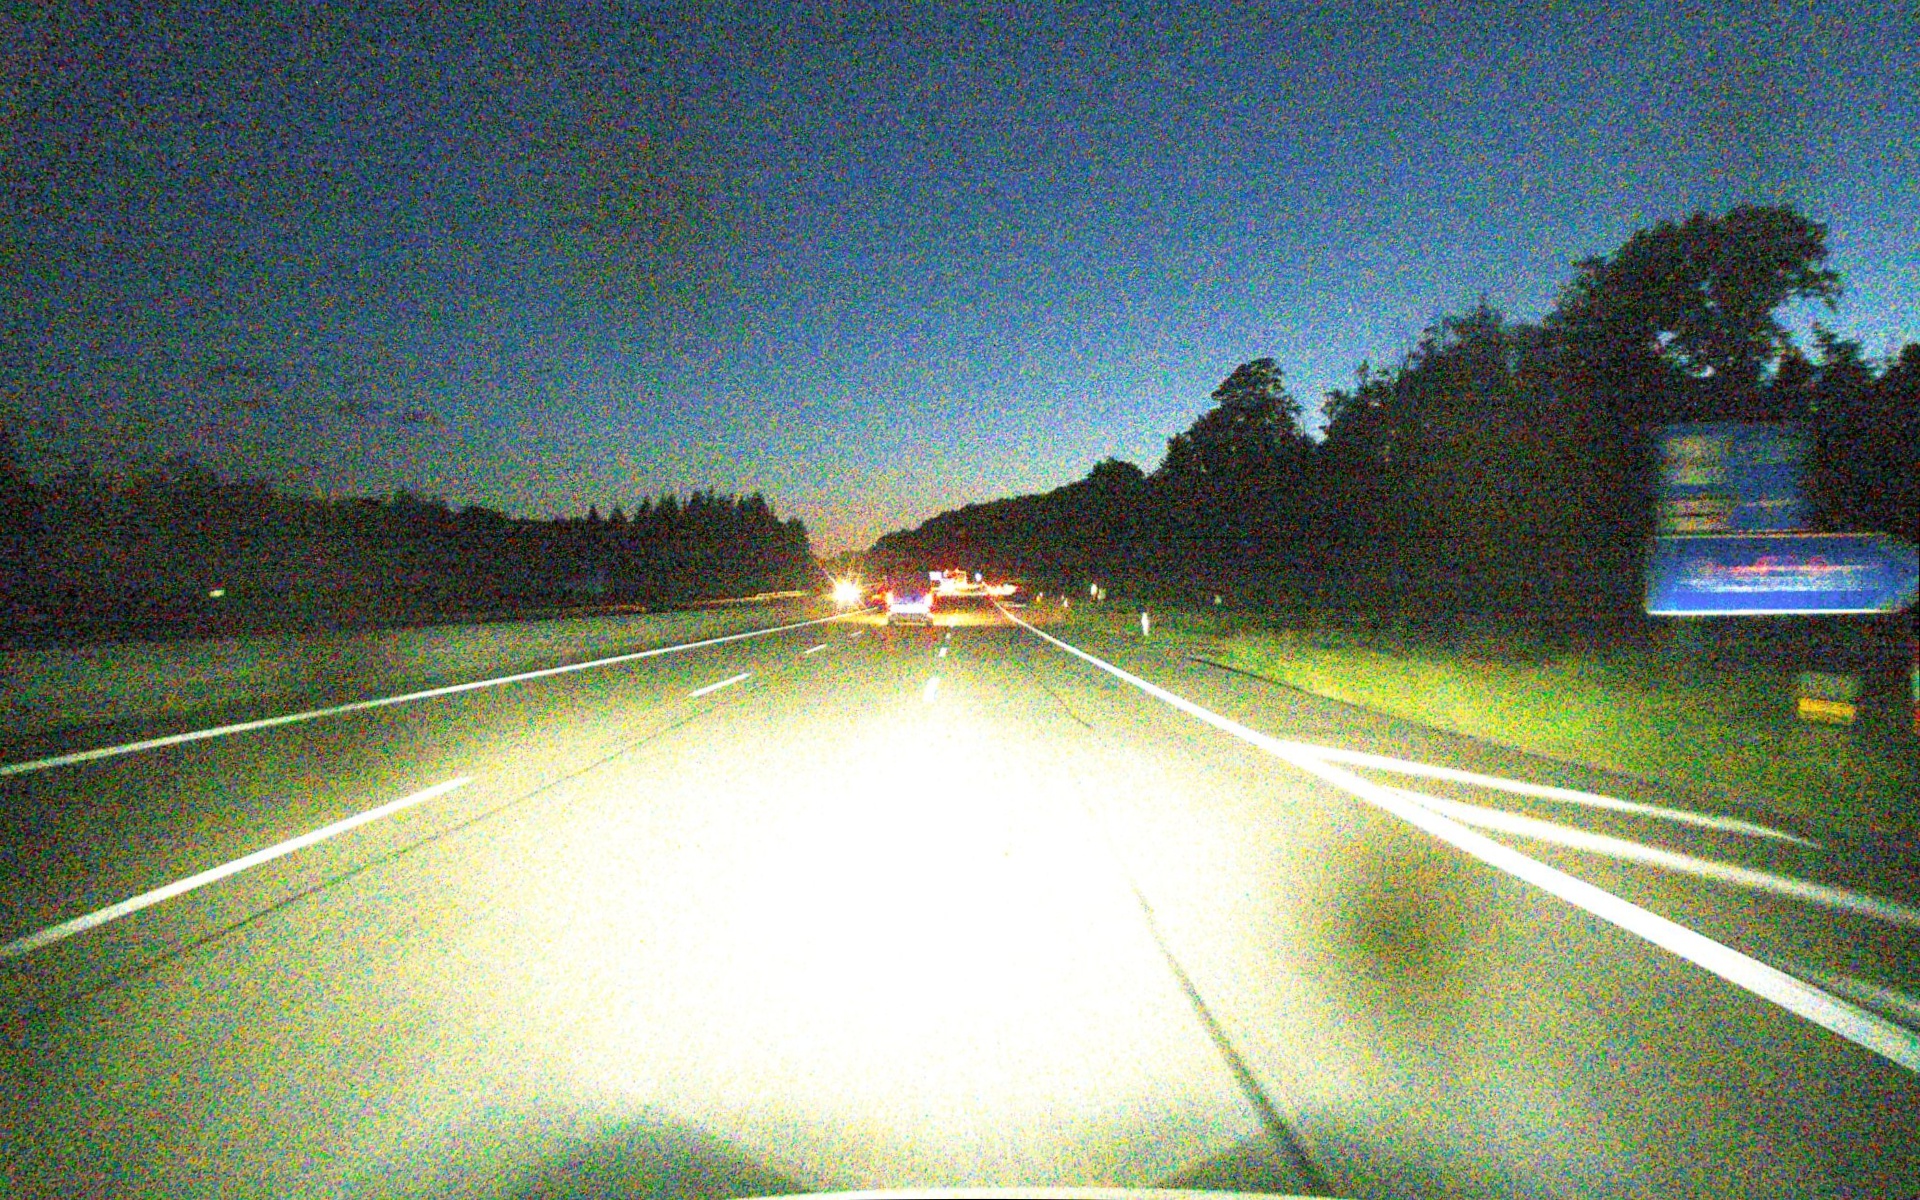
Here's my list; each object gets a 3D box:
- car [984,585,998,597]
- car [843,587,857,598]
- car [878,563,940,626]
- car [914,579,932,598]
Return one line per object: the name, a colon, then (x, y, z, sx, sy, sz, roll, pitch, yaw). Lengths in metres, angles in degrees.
car: (4.410, -1.339, 235.222, 1.806, 1.668, 4.000, 0, 1, -1)
car: (-16.958, -1.119, 254.548, 1.893, 1.632, 4.953, -1, 1, -1)
car: (-2.298, -0.263, 76.565, 2.729, 2.781, 6.299, 0, 0, 0)
car: (-5.695, -1.746, 255.606, 2.730, 2.781, 6.296, 0, -1, -2)
